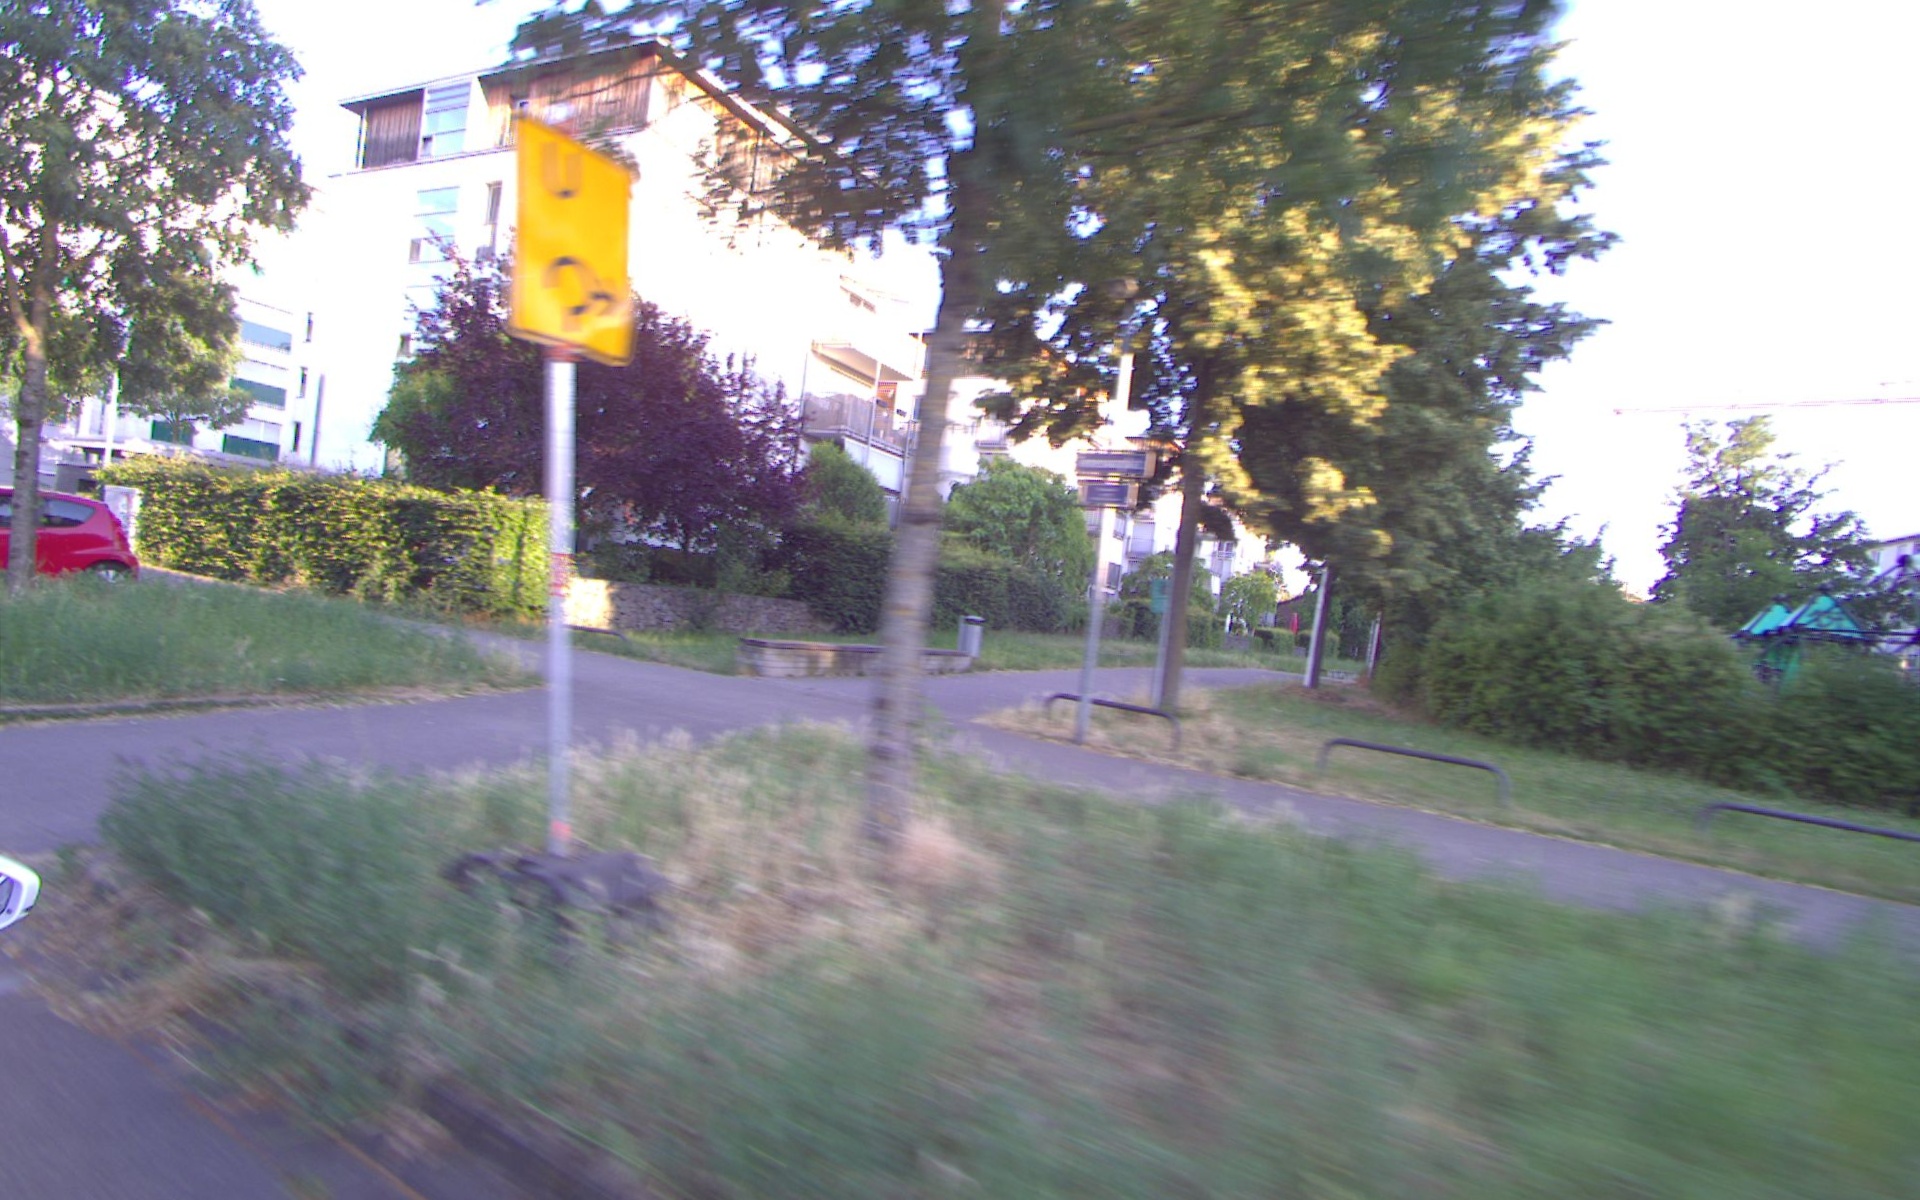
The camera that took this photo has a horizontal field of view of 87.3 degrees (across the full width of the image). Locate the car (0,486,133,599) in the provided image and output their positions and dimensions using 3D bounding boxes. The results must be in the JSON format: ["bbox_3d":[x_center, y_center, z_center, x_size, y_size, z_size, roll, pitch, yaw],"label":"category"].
[{"bbox_3d":[-14.883,-0.995,14.770,1.650,1.527,3.809,7,0,29],"label":"car"}]

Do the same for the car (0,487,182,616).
[{"bbox_3d":[-12.936,-0.751,13.274,1.650,1.527,3.809,7,0,29],"label":"car"}]

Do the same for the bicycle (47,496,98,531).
[{"bbox_3d":[-36.111,-3.505,40.923,2.418,1.165,0.697,7,1,29],"label":"bicycle"}]

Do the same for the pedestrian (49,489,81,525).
[{"bbox_3d":[-36.743,-3.815,41.287,0.789,1.372,0.658,7,1,28],"label":"pedestrian"}]

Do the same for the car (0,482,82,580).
[{"bbox_3d":[-16.997,-1.312,16.270,1.650,1.527,3.808,8,1,30],"label":"car"}]
